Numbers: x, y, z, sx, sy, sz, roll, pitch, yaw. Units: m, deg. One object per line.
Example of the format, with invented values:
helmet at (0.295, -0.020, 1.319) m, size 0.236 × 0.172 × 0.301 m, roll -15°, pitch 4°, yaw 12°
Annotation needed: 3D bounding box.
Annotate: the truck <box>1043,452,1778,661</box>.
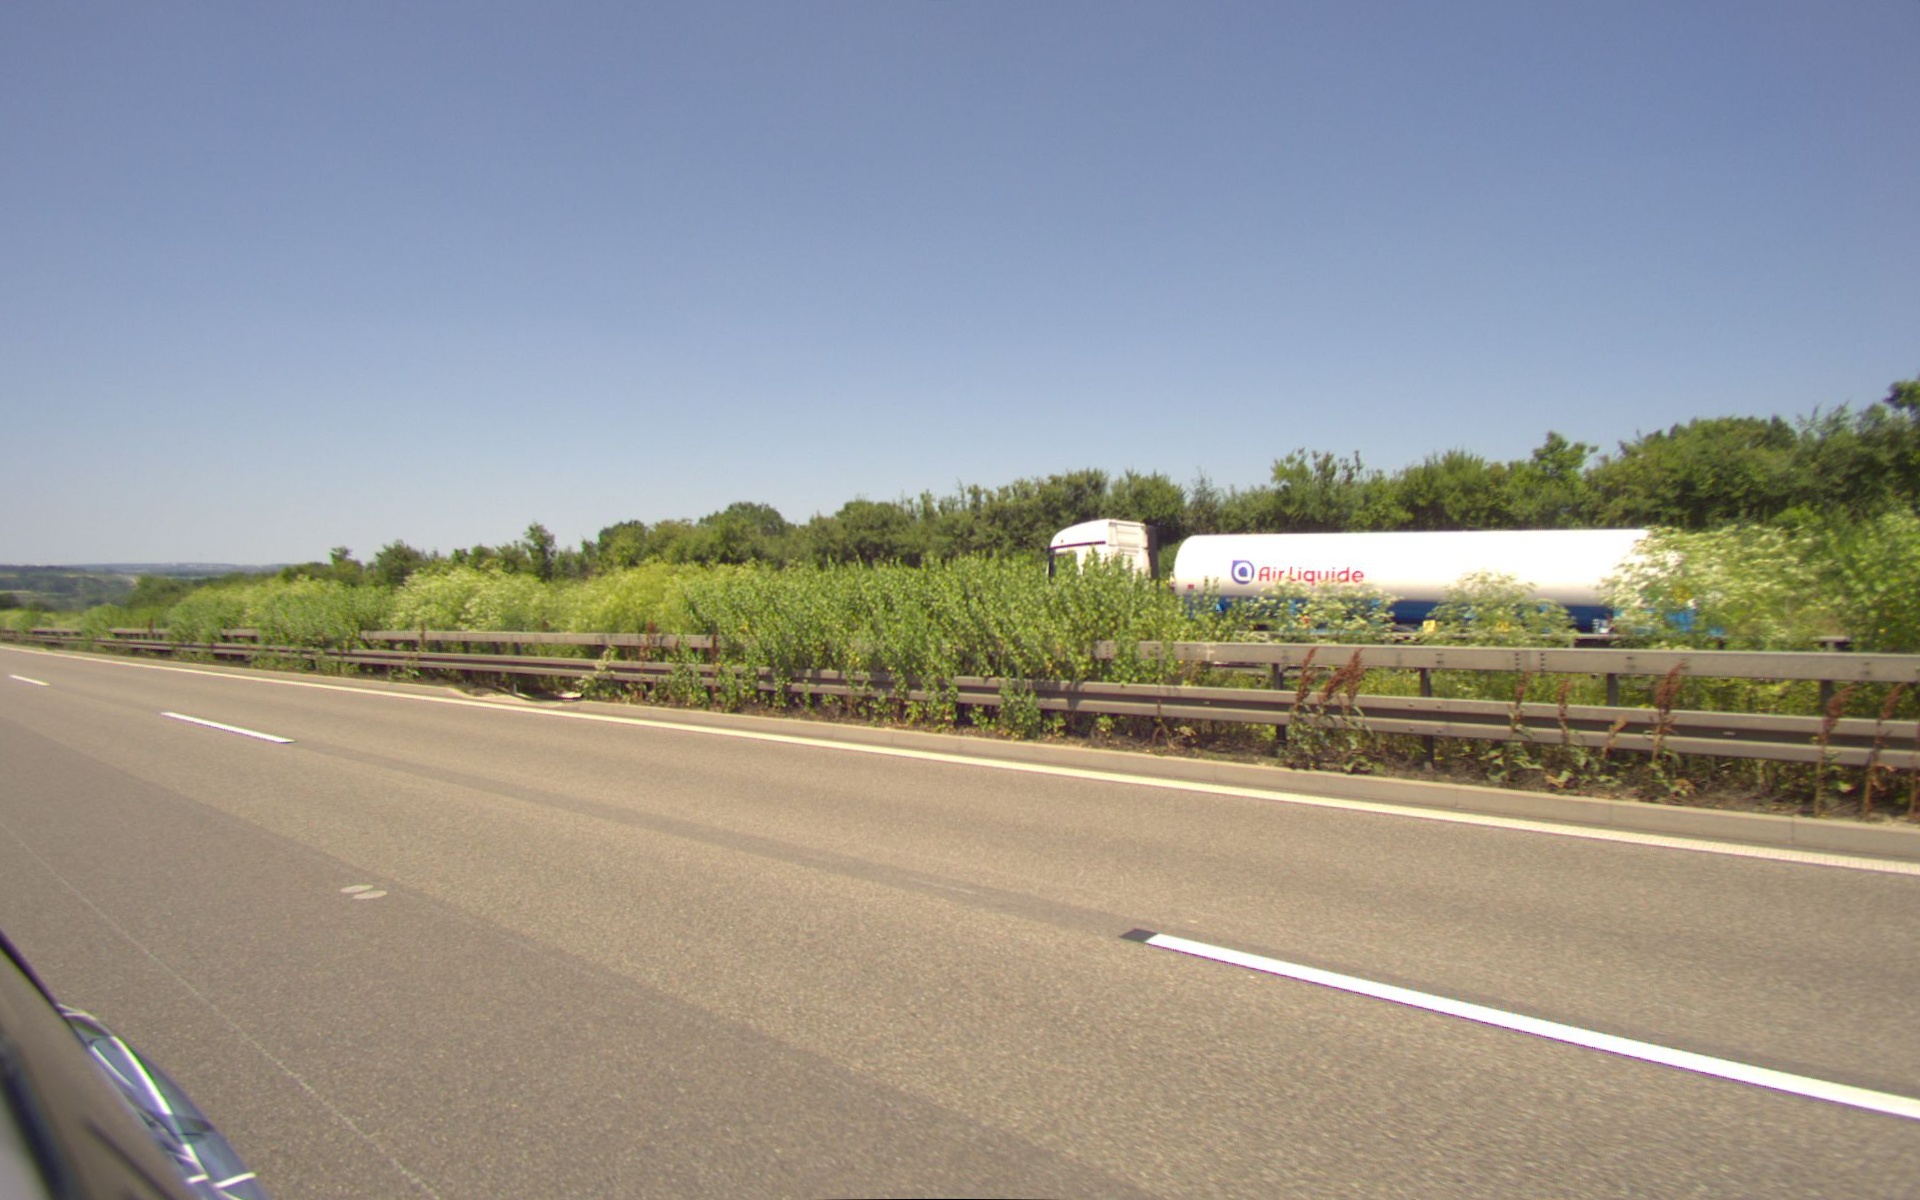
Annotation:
truck at (8.600, -0.536, 22.404) m, size 14.670 × 3.483 × 2.434 m, roll -2°, pitch -2°, yaw 39°
